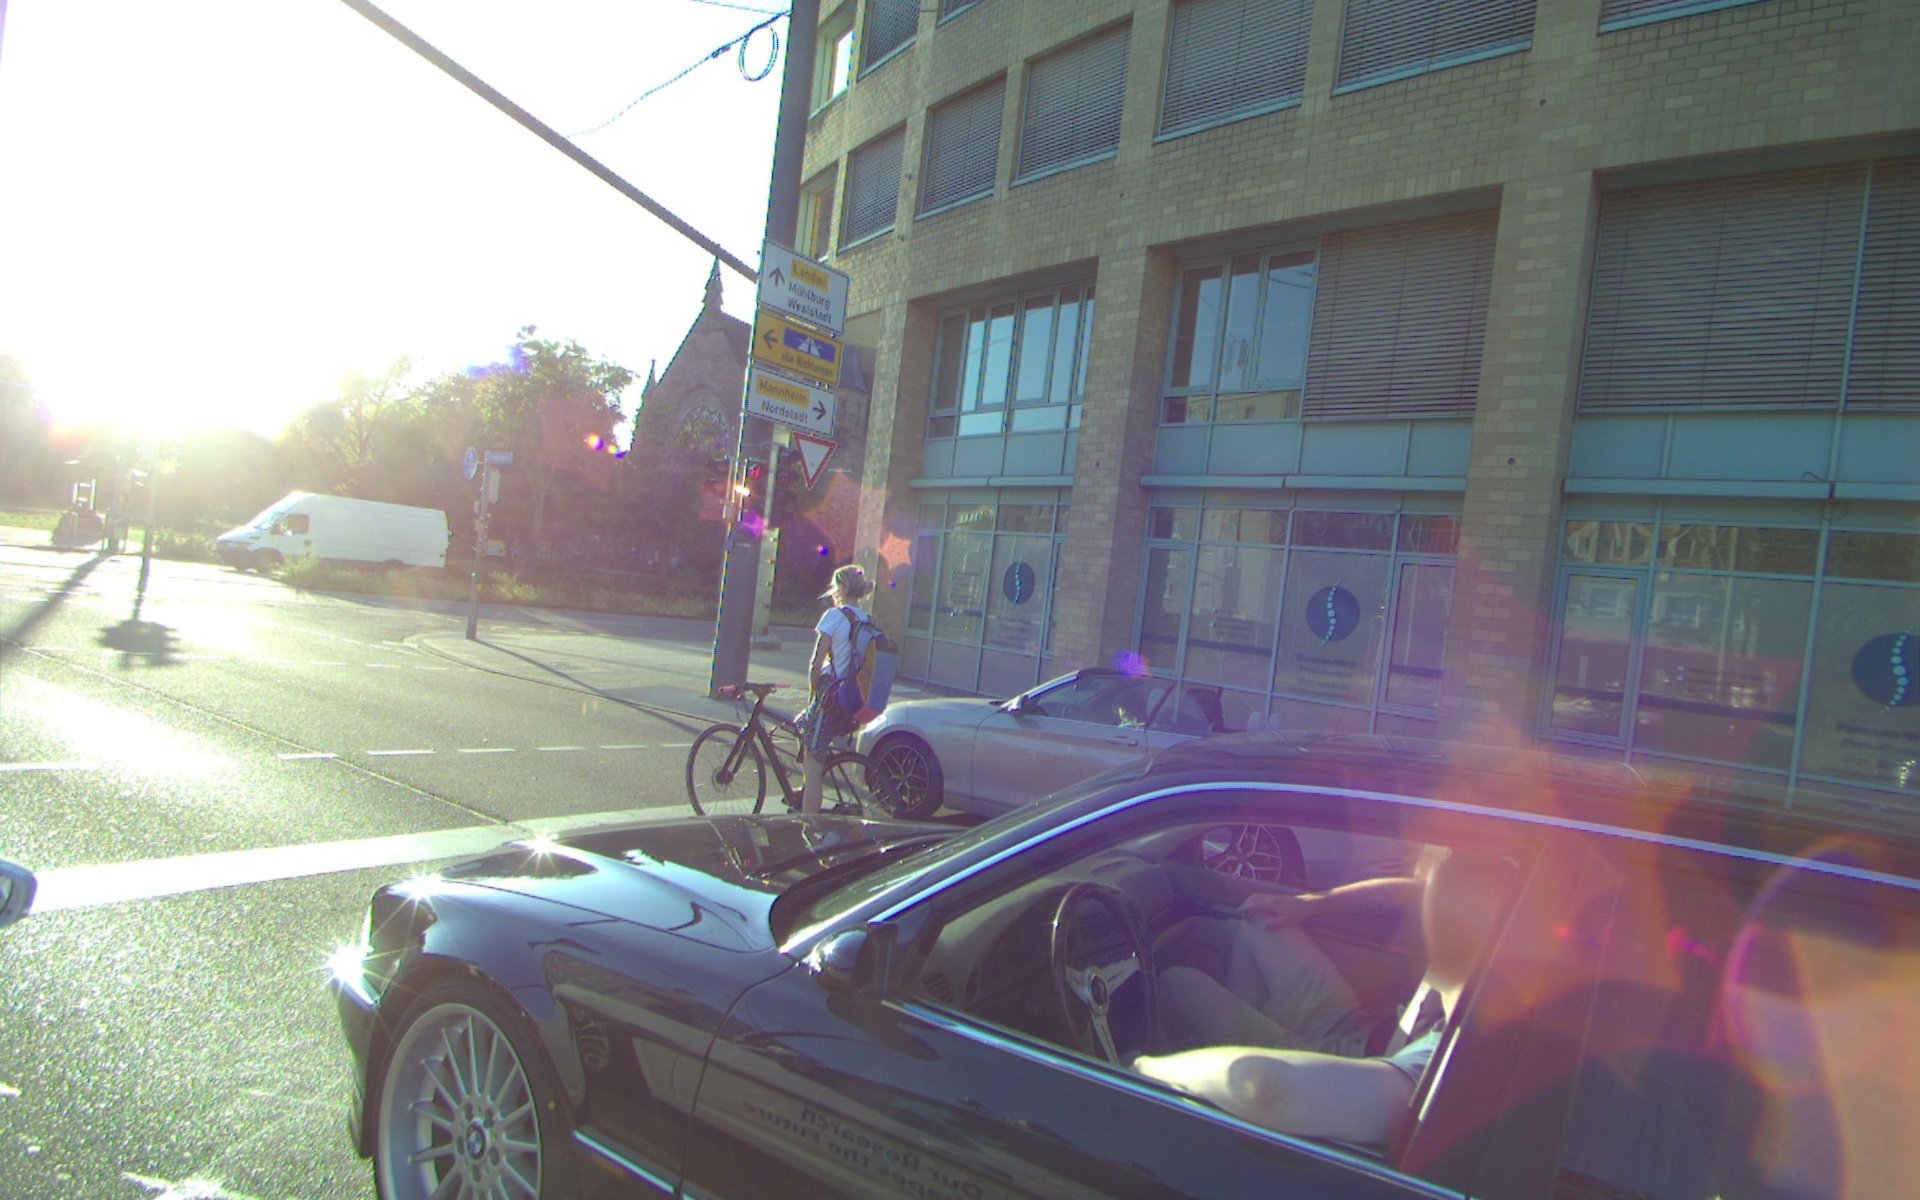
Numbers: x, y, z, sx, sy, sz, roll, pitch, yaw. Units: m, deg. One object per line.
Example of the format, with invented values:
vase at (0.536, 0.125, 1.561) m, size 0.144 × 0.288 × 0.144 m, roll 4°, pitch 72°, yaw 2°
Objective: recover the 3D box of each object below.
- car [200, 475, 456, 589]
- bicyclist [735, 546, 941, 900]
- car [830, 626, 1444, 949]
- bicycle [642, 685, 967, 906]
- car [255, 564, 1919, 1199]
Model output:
car at (-21.318, -2.185, 34.409) m, size 2.059 × 2.862 × 7.017 m, roll 7°, pitch 0°, yaw 33°
bicyclist at (-0.700, 0.669, 5.828) m, size 0.764 × 1.843 × 0.634 m, roll 7°, pitch 1°, yaw 30°
car at (1.247, 1.198, 7.679) m, size 4.157 × 1.401 × 1.747 m, roll 7°, pitch -1°, yaw 31°
bicycle at (-0.953, 1.081, 5.968) m, size 1.838 × 0.884 × 0.634 m, roll 7°, pitch 0°, yaw 30°
car at (0.891, 0.936, 2.003) m, size 4.661 × 1.402 × 1.997 m, roll 7°, pitch -1°, yaw 32°
